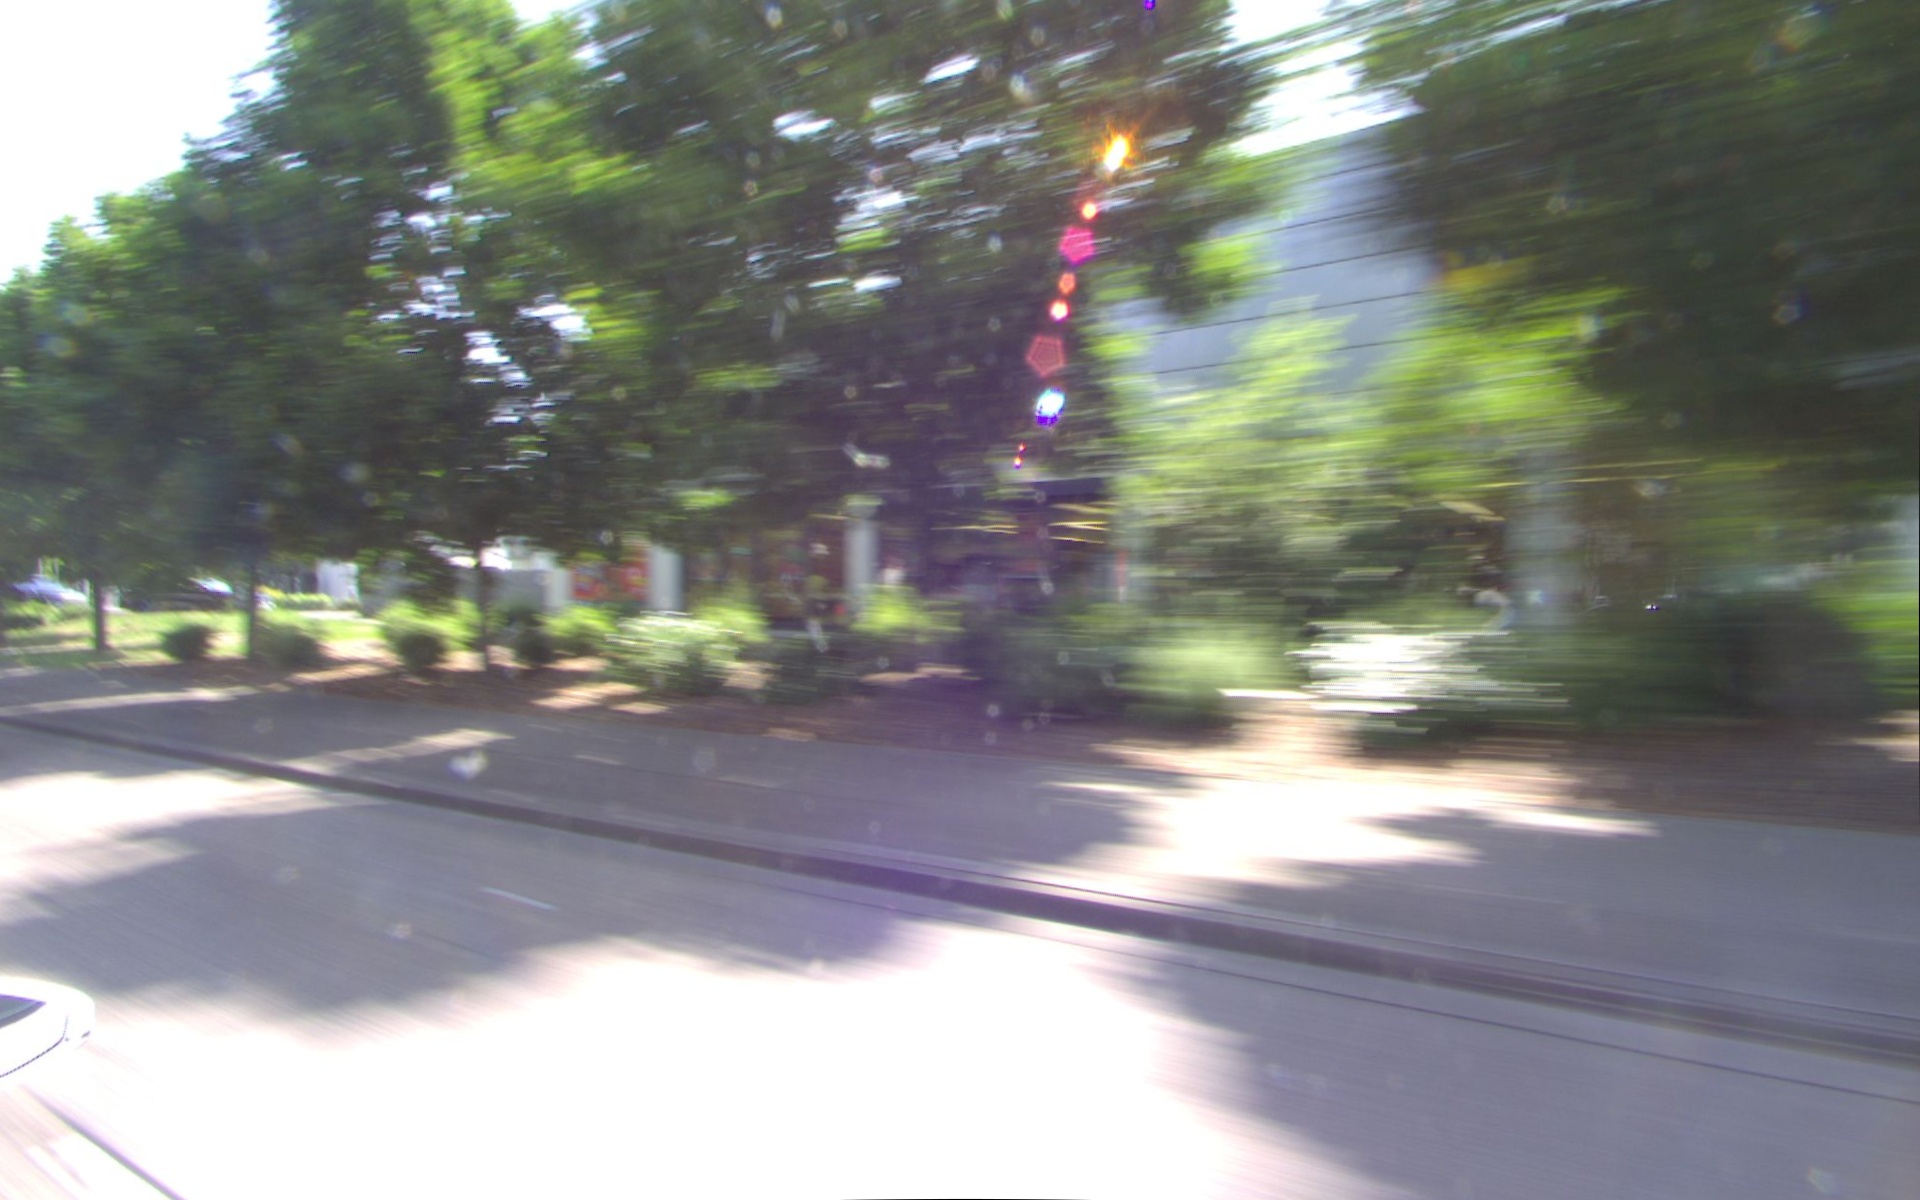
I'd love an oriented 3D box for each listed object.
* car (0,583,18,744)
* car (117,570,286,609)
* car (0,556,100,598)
[{"bbox_3d":[-11.846,0.606,10.547,4.286,1.613,1.805,1,0,32],"label":"car"},{"bbox_3d":[-27.371,-0.401,36.231,4.623,1.370,1.952,0,2,1],"label":"car"},{"bbox_3d":[-35.229,-0.845,38.049,5.511,1.470,1.905,1,0,27],"label":"car"}]
